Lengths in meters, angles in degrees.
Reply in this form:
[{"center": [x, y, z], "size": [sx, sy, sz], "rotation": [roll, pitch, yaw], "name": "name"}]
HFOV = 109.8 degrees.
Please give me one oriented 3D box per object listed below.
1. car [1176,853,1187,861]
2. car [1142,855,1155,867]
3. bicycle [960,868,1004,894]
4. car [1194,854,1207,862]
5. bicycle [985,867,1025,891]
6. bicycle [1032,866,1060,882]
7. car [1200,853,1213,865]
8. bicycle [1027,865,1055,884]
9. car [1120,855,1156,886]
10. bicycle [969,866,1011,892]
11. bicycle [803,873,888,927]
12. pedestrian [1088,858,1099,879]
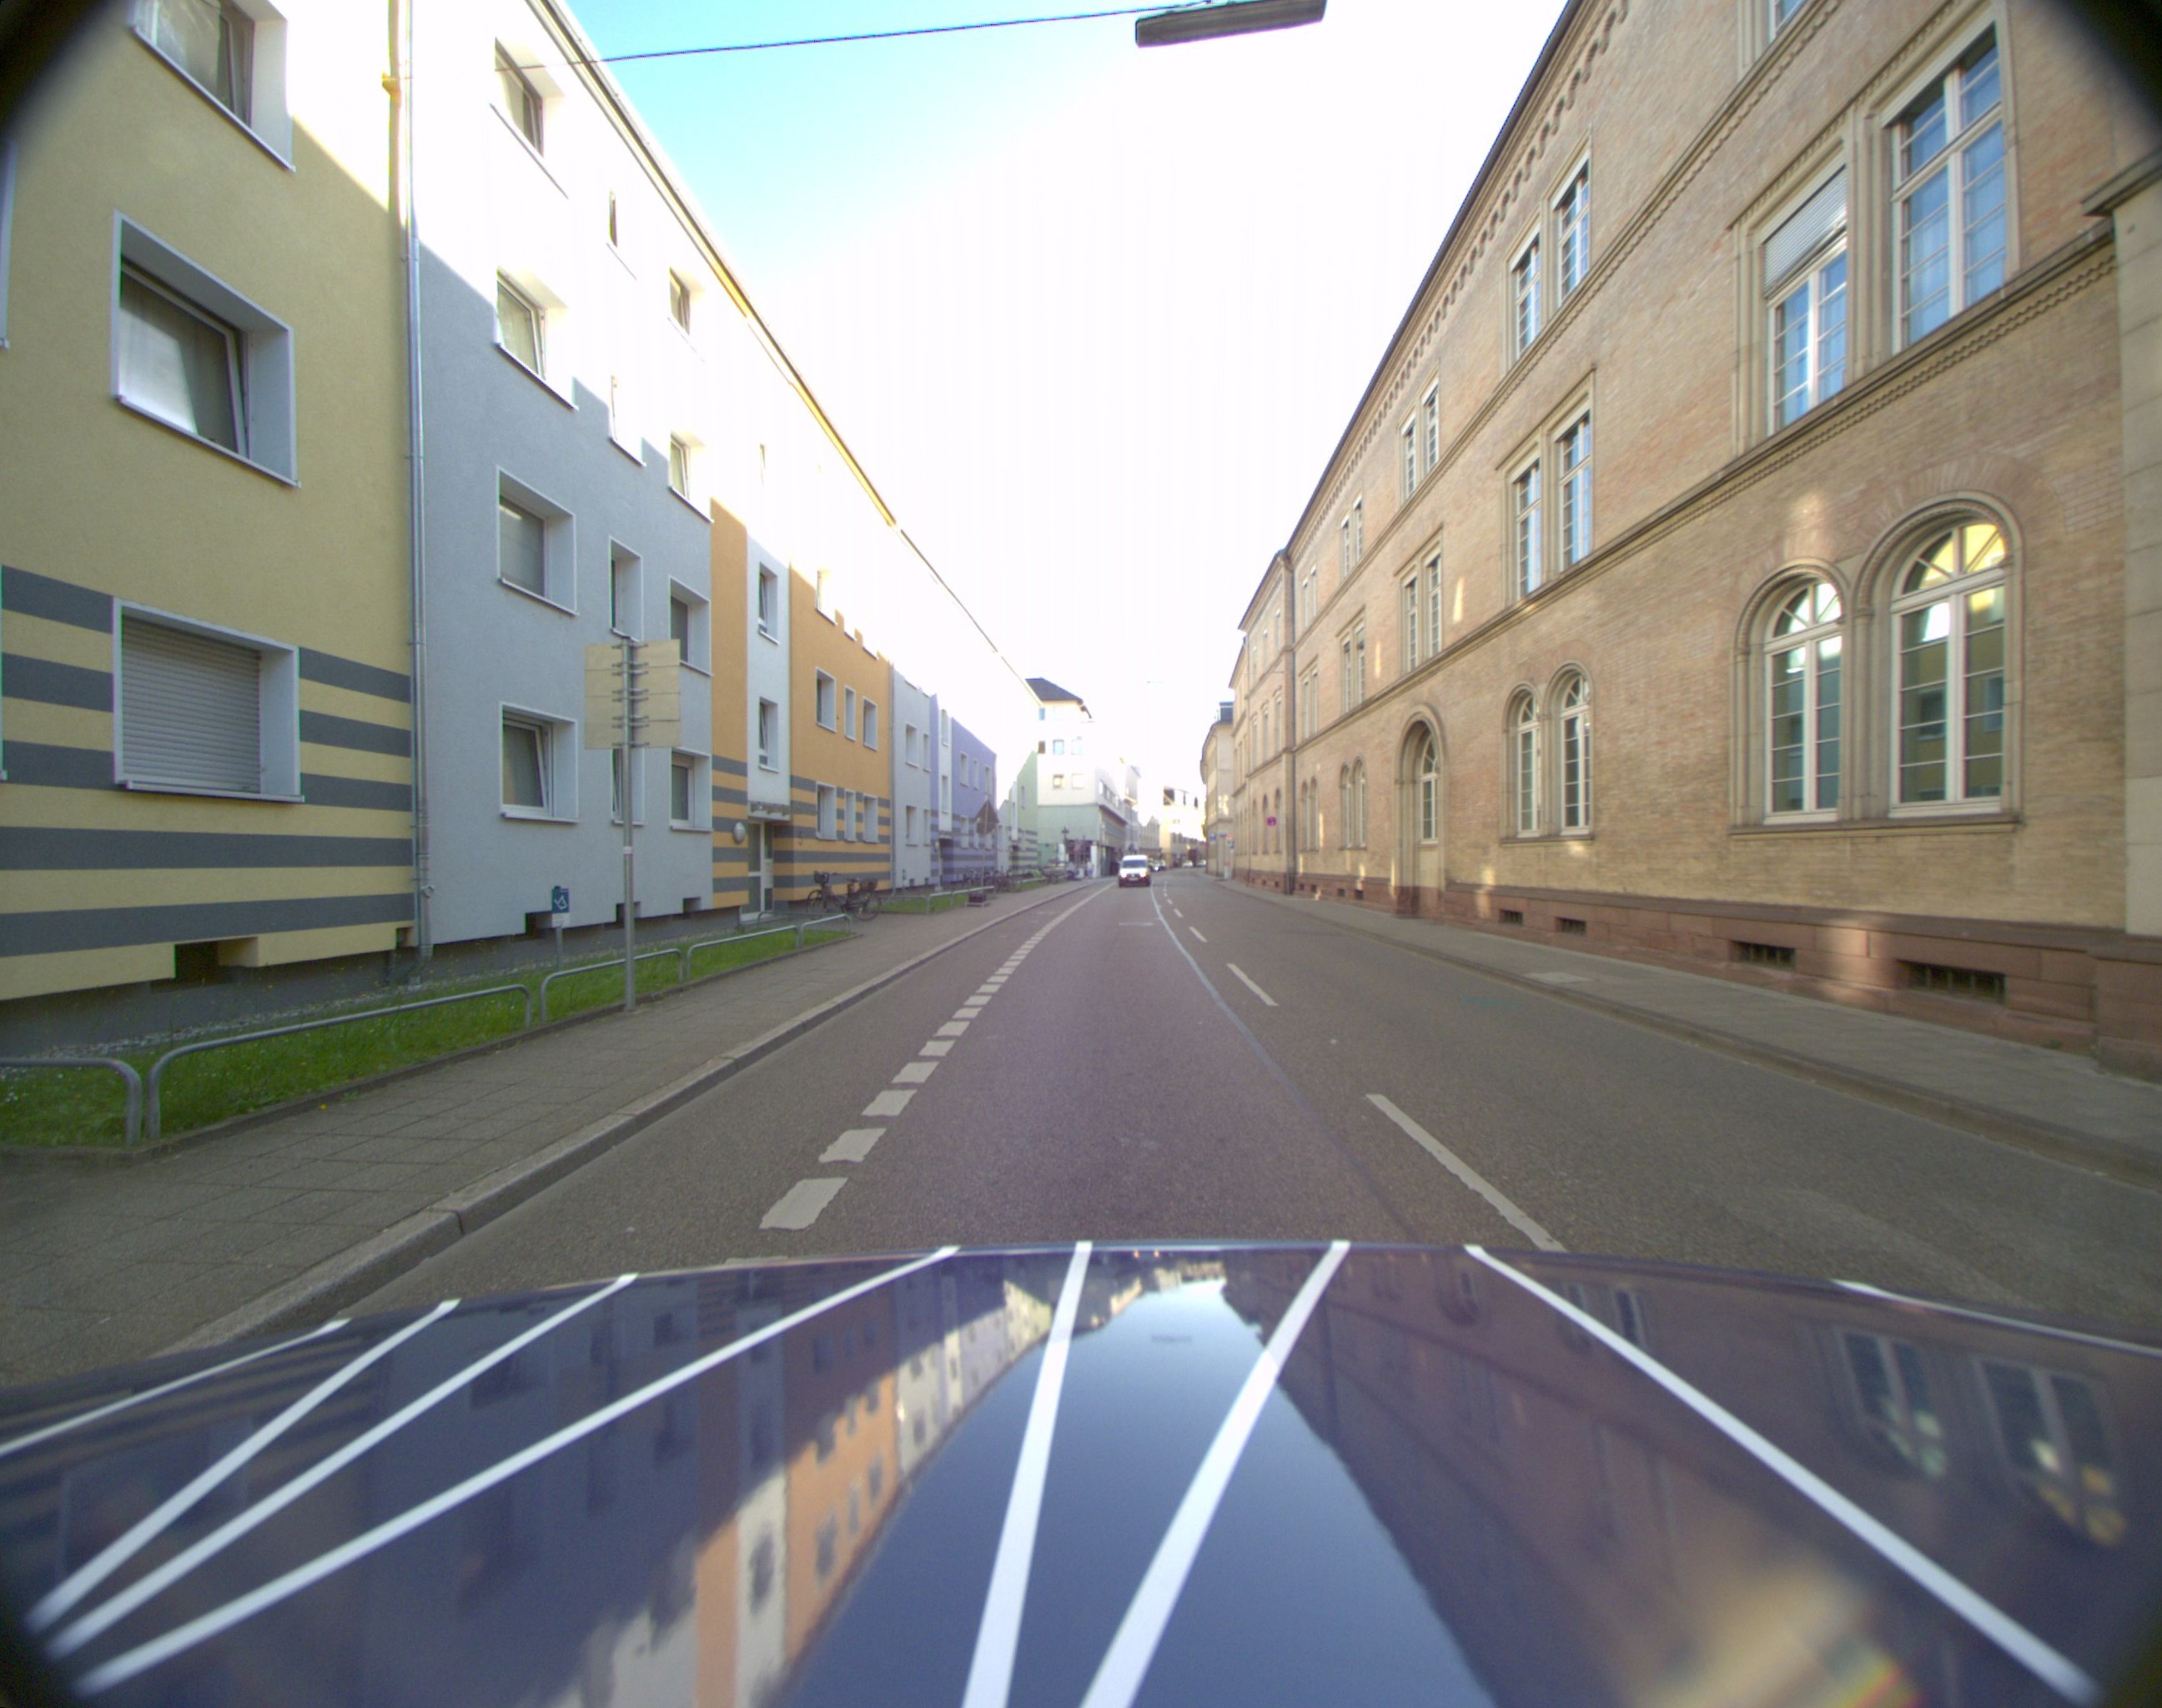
[{"center": [19.822, 0.593, 149.711], "size": [1.534, 1.714, 3.743], "rotation": [0, 0, 16], "name": "car"}, {"center": [9.474, 0.980, 106.061], "size": [1.535, 1.714, 3.741], "rotation": [0, 0, 8], "name": "car"}, {"center": [-4.149, 1.127, 31.874], "size": [1.710, 1.039, 0.636], "rotation": [1, 0, 2], "name": "bicycle"}, {"center": [25.703, 0.778, 163.533], "size": [1.925, 1.714, 4.236], "rotation": [0, 0, 19], "name": "car"}, {"center": [-3.387, 1.098, 33.777], "size": [1.711, 1.029, 0.636], "rotation": [1, 0, -2], "name": "bicycle"}, {"center": [-2.169, 1.277, 47.597], "size": [1.711, 0.972, 0.516], "rotation": [1, 0, -2], "name": "bicycle"}, {"center": [19.877, 0.782, 120.064], "size": [1.662, 1.714, 3.743], "rotation": [0, 0, 14], "name": "car"}, {"center": [-2.417, 1.225, 46.137], "size": [1.711, 1.097, 0.584], "rotation": [1, 0, -2], "name": "bicycle"}, {"center": [3.437, 0.926, 45.088], "size": [1.922, 1.712, 4.963], "rotation": [0, 0, 6], "name": "car"}, {"center": [-3.947, 1.089, 33.017], "size": [1.710, 1.075, 0.636], "rotation": [1, 0, 1], "name": "bicycle"}, {"center": [-5.289, 1.025, 17.121], "size": [1.711, 1.152, 0.636], "rotation": [1, 0, -2], "name": "bicycle"}, {"center": [0.896, 1.059, 55.052], "size": [0.708, 1.510, 0.662], "rotation": [-1, 0, 5], "name": "pedestrian"}]
